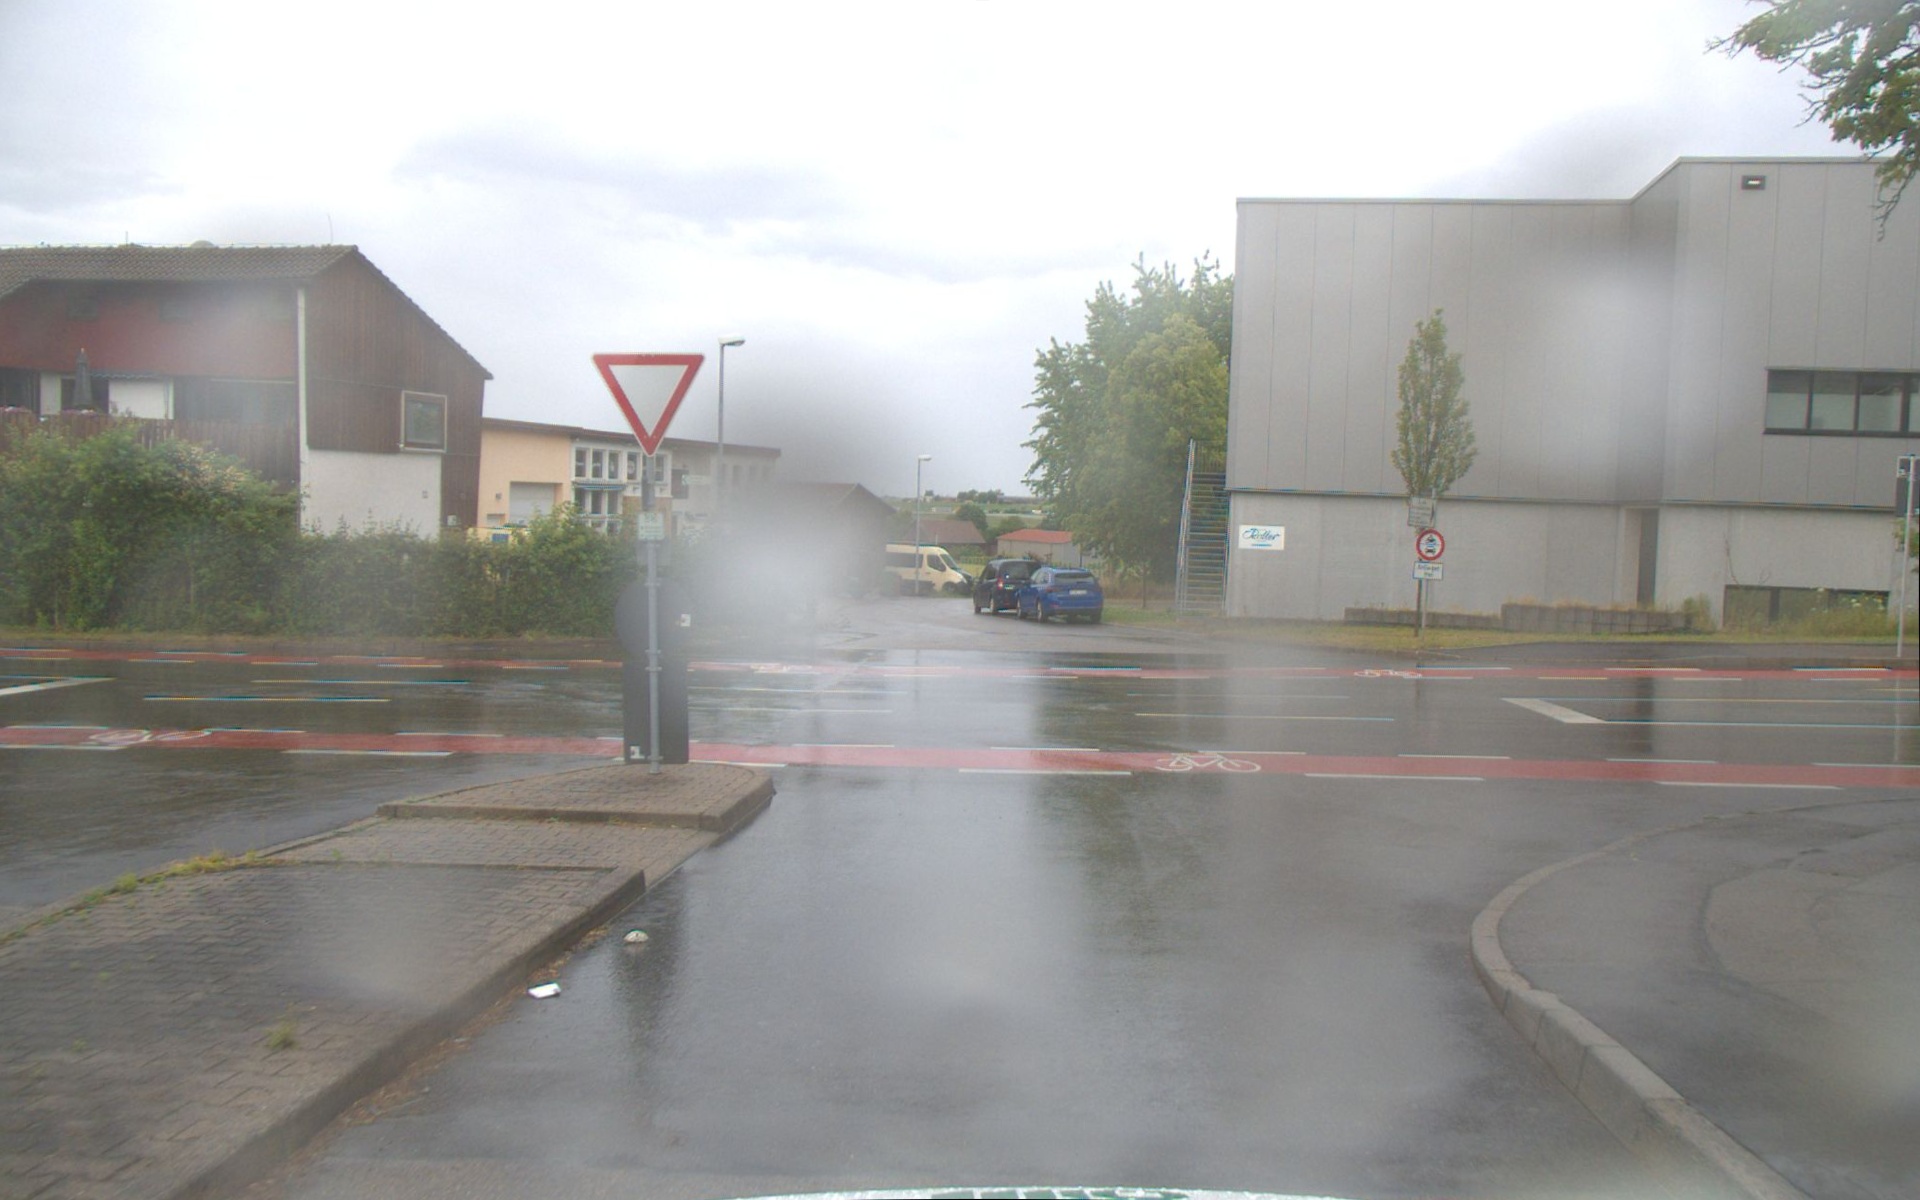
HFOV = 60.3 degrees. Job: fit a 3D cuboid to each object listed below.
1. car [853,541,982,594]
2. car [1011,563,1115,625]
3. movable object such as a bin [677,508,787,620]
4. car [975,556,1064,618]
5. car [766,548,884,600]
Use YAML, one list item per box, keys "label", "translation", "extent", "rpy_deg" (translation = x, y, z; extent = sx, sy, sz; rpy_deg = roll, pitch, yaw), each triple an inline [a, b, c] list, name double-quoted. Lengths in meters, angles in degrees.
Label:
- label: "car"
  translation: [-2.083, -1.607, 81.539]
  extent: [5.882, 2.457, 2.465]
  rpy_deg: [1, 1, 16]
- label: "car"
  translation: [2.825, -0.190, 46.518]
  extent: [1.916, 1.638, 4.436]
  rpy_deg: [1, 1, -10]
- label: "movable object such as a bin"
  translation: [-5.531, -0.865, 40.455]
  extent: [1.696, 2.601, 3.343]
  rpy_deg: [1, 1, 10]
- label: "car"
  translation: [1.848, -0.433, 52.730]
  extent: [2.035, 1.867, 4.462]
  rpy_deg: [1, 1, -9]
- label: "car"
  translation: [-5.236, -1.004, 63.940]
  extent: [4.325, 1.938, 1.991]
  rpy_deg: [1, 1, 38]
